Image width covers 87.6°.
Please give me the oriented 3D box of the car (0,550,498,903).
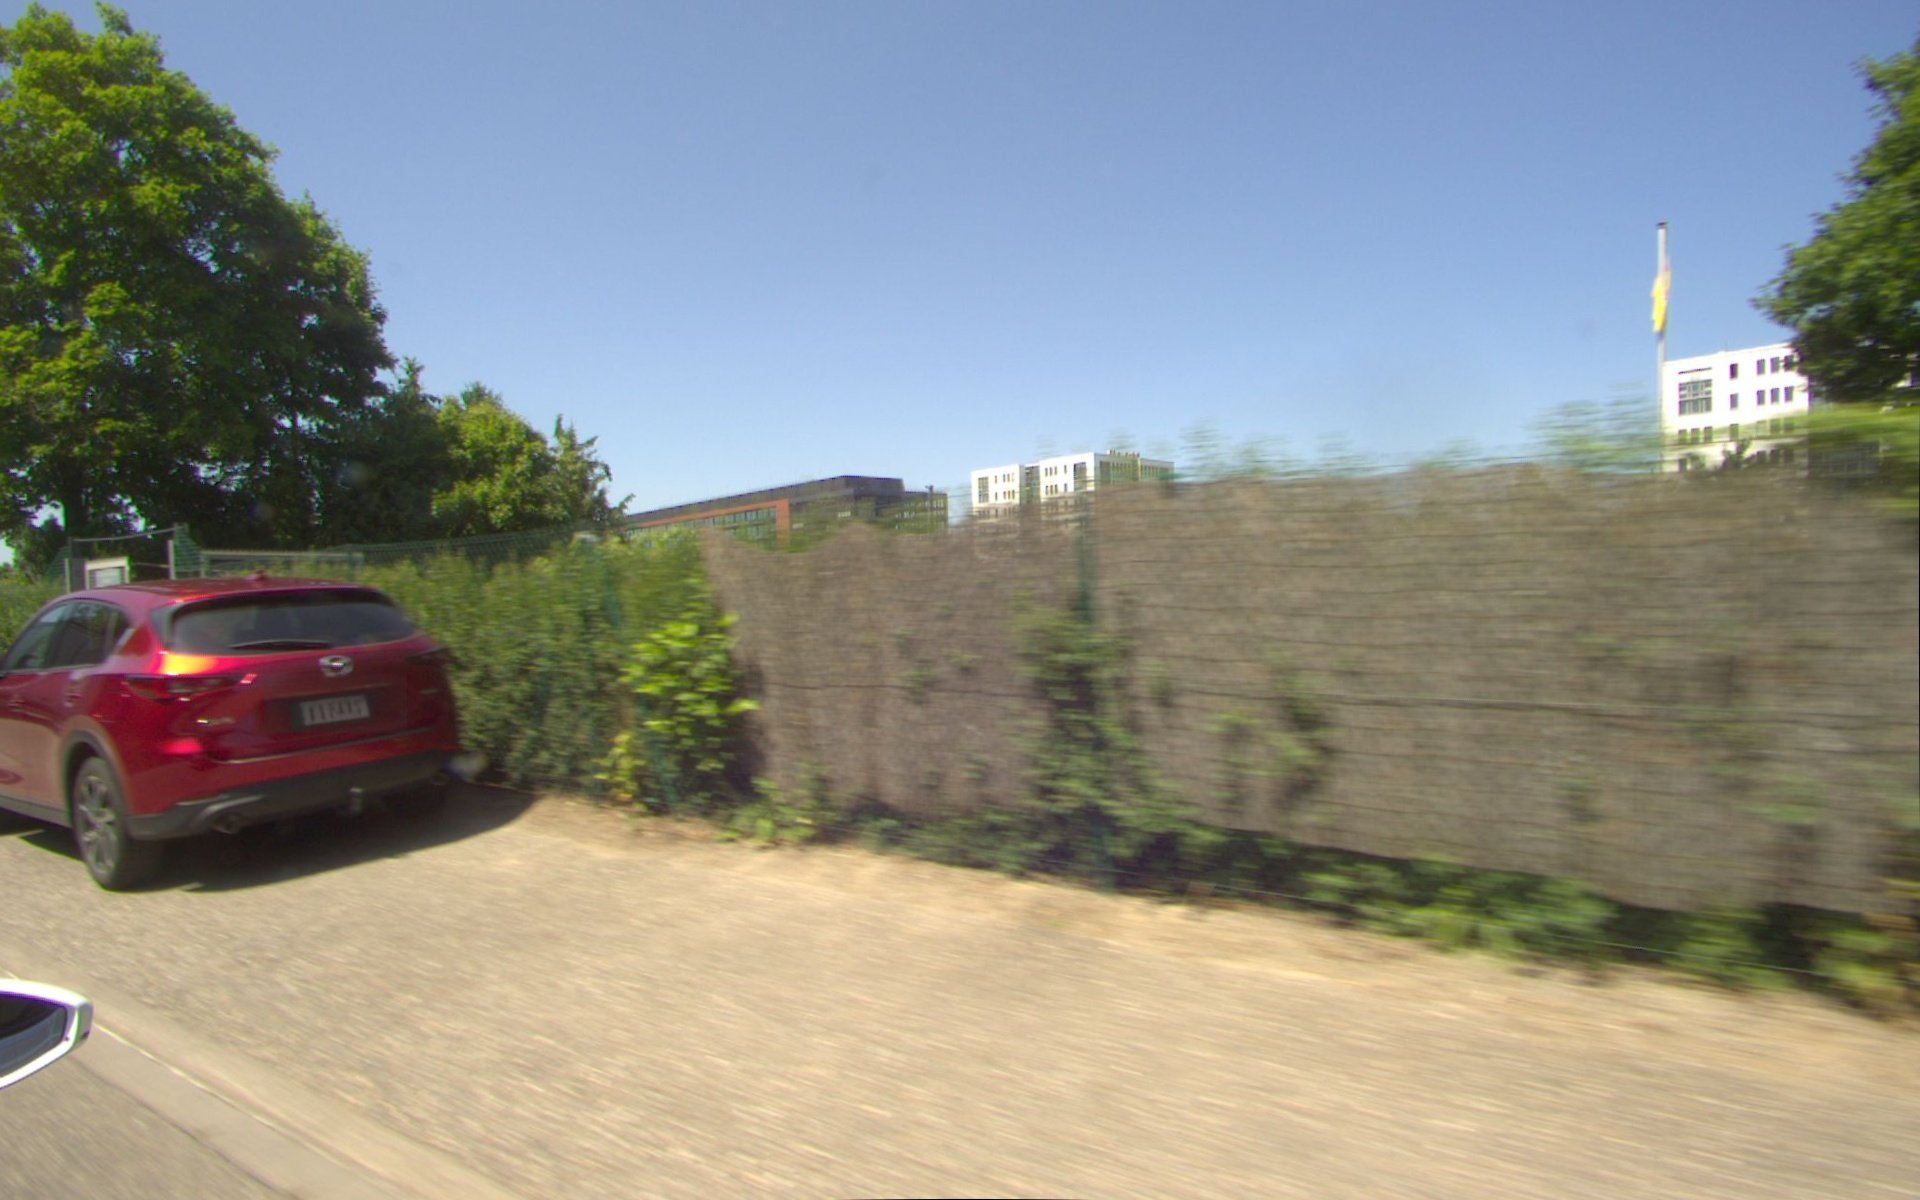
[{"bbox_3d":[-5.297,0.613,6.822,4.391,1.681,1.783,-1,4,34],"label":"car"}]
